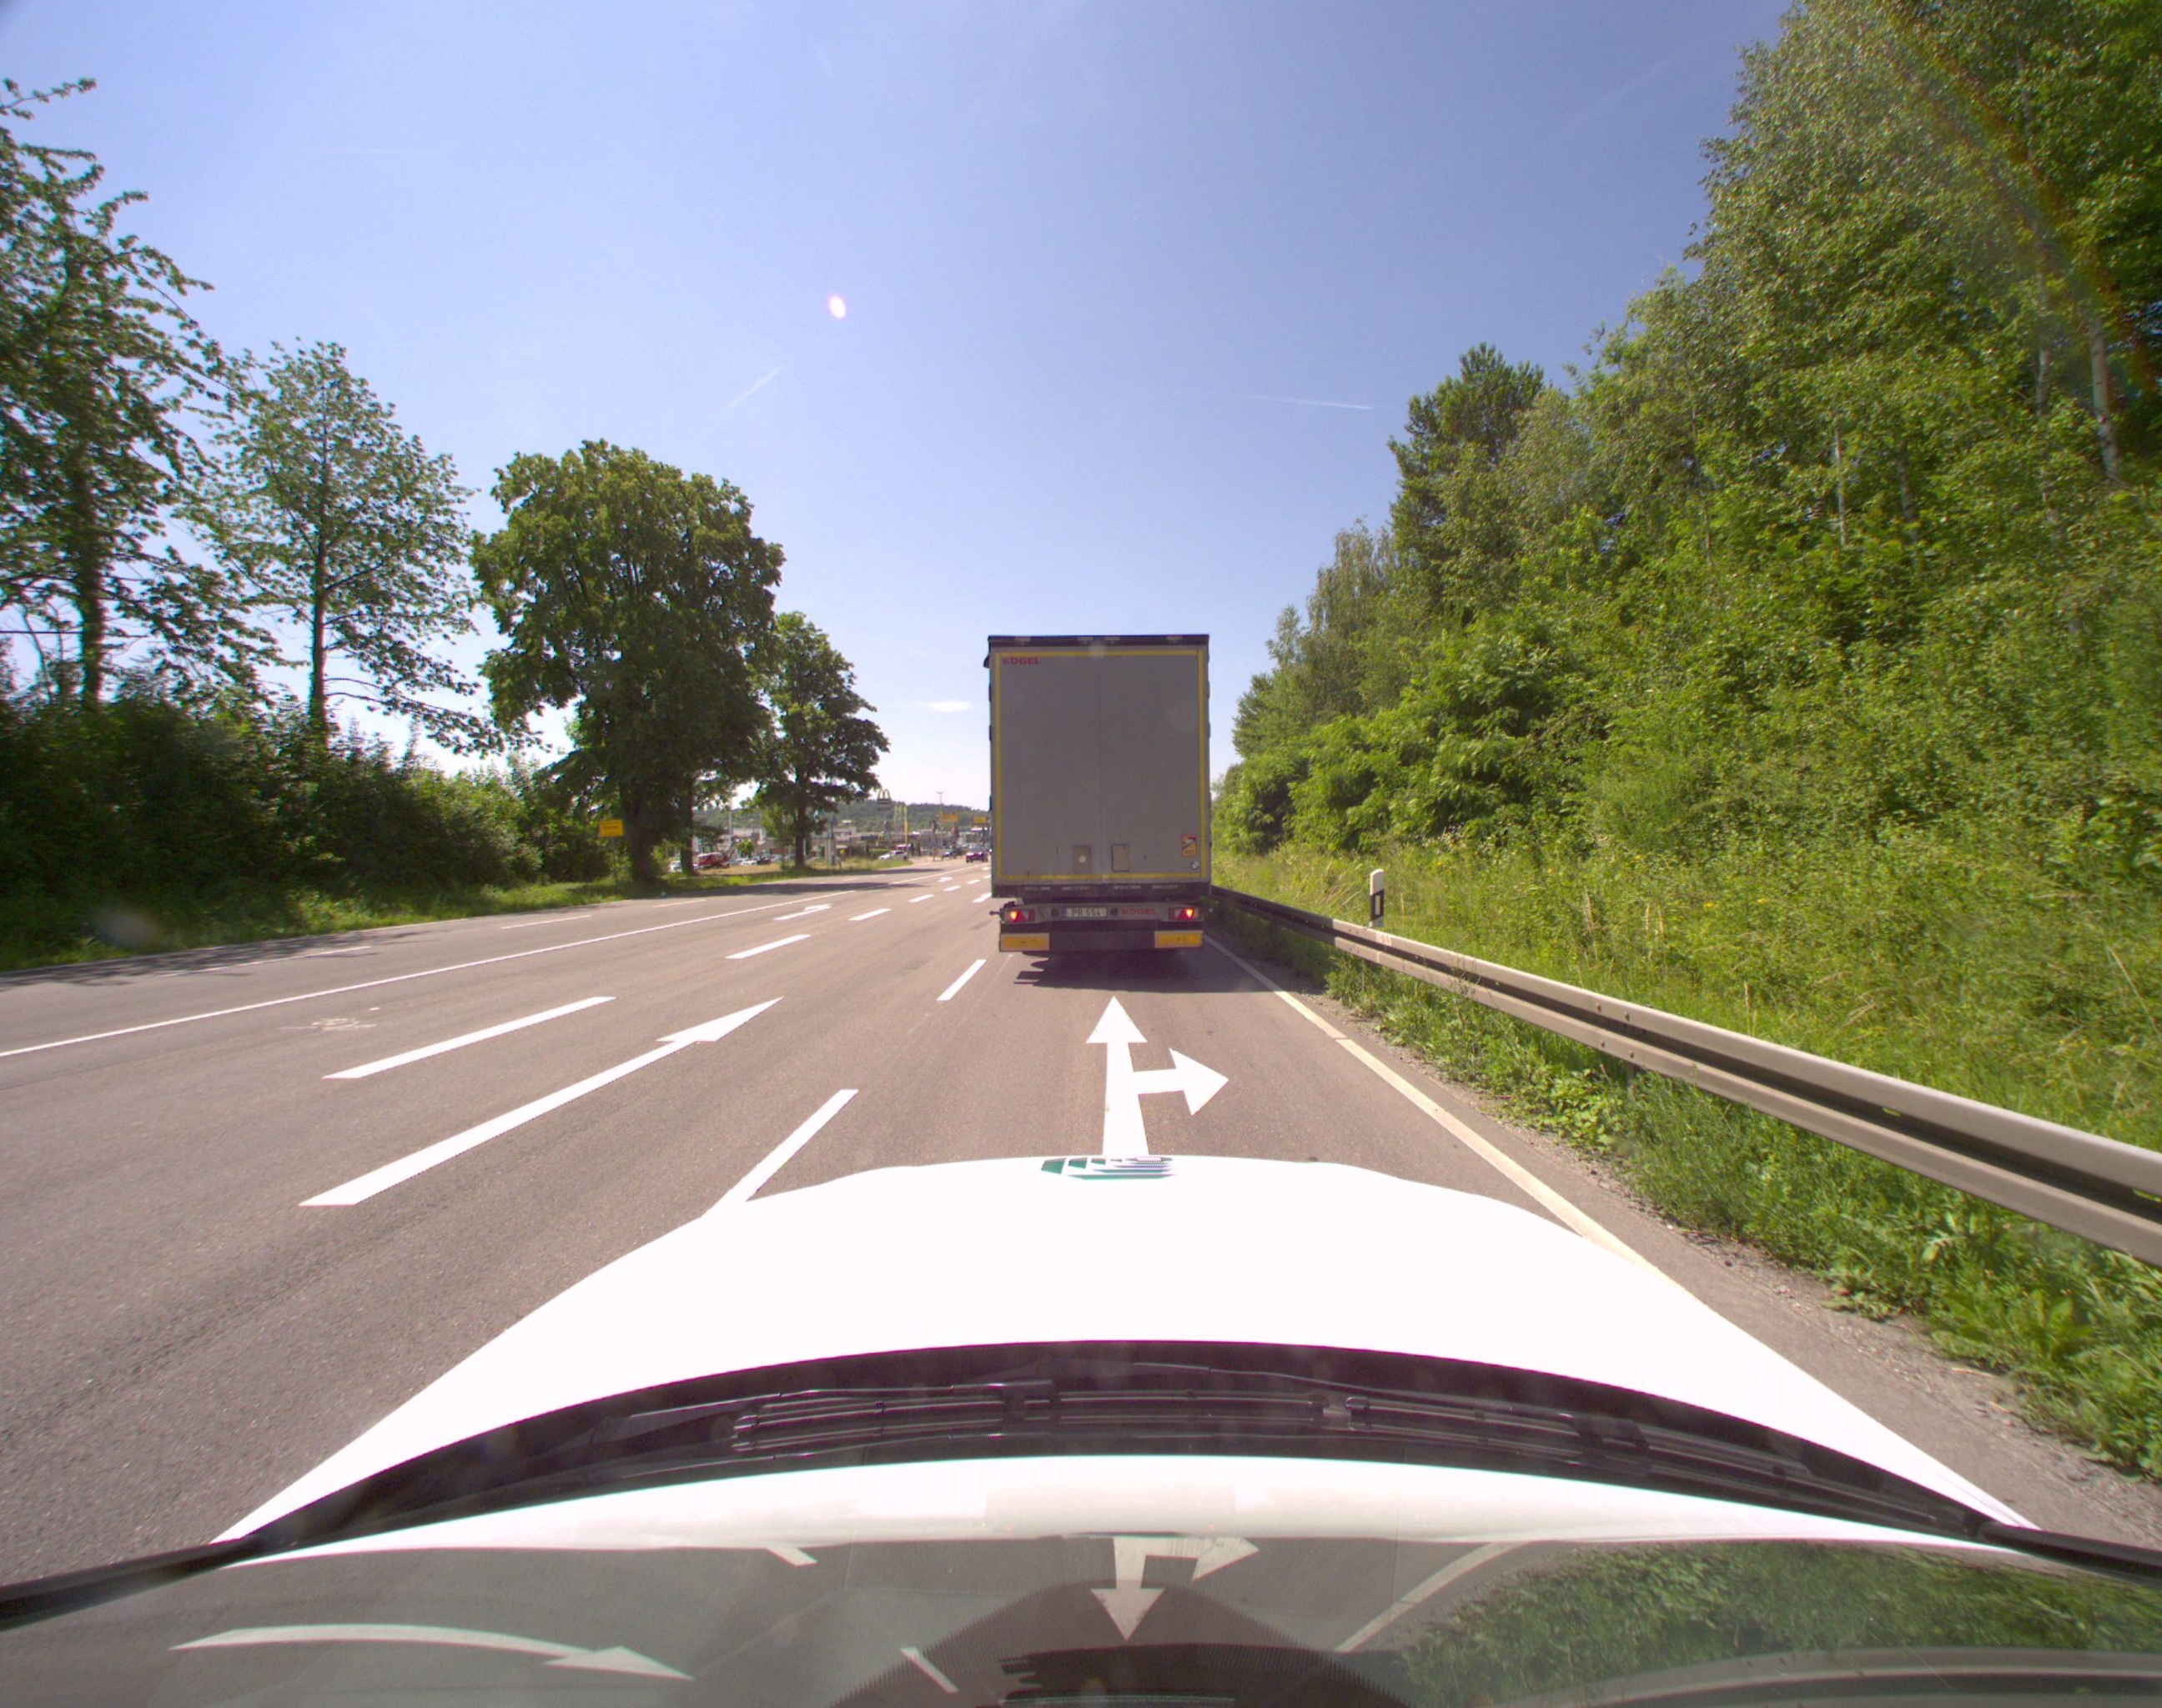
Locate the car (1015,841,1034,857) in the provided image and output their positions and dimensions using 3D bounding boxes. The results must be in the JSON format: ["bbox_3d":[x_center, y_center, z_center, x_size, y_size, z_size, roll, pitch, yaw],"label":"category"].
[{"bbox_3d":[-6.985,-0.650,101.579,1.987,2.013,4.001,0,0,1],"label":"car"}]

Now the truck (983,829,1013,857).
[{"bbox_3d":[-13.192,-1.699,131.037,2.958,4.176,16.576,-2,0,1],"label":"truck"}]

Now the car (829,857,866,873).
[{"bbox_3d":[-25.237,1.171,87.831,3.948,1.618,1.852,-1,0,38],"label":"car"}]

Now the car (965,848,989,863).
[{"bbox_3d":[-10.403,0.157,81.475,1.897,1.508,3.764,0,0,0],"label":"car"}]

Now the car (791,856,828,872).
[{"bbox_3d":[-28.836,1.068,86.449,3.948,1.618,1.852,-1,0,38],"label":"car"}]

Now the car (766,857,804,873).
[{"bbox_3d":[-30.642,1.130,84.321,3.948,1.618,1.852,-1,0,38],"label":"car"}]

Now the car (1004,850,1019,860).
[{"bbox_3d":[-9.826,0.099,114.565,1.761,1.386,3.999,0,0,0],"label":"car"}]

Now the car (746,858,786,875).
[{"bbox_3d":[-31.913,1.251,82.461,3.948,1.651,2.013,-1,0,38],"label":"car"}]

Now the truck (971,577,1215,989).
[{"bbox_3d":[0.376,-0.765,17.519,2.745,4.639,16.660,0,0,2],"label":"truck"}]

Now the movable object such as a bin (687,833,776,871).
[{"bbox_3d":[-32.123,-0.245,74.979,3.013,3.298,6.835,-1,1,41],"label":"movable object such as a bin"}]

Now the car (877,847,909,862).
[{"bbox_3d":[-26.749,0.106,116.045,1.974,2.013,4.026,-1,0,37],"label":"car"}]
